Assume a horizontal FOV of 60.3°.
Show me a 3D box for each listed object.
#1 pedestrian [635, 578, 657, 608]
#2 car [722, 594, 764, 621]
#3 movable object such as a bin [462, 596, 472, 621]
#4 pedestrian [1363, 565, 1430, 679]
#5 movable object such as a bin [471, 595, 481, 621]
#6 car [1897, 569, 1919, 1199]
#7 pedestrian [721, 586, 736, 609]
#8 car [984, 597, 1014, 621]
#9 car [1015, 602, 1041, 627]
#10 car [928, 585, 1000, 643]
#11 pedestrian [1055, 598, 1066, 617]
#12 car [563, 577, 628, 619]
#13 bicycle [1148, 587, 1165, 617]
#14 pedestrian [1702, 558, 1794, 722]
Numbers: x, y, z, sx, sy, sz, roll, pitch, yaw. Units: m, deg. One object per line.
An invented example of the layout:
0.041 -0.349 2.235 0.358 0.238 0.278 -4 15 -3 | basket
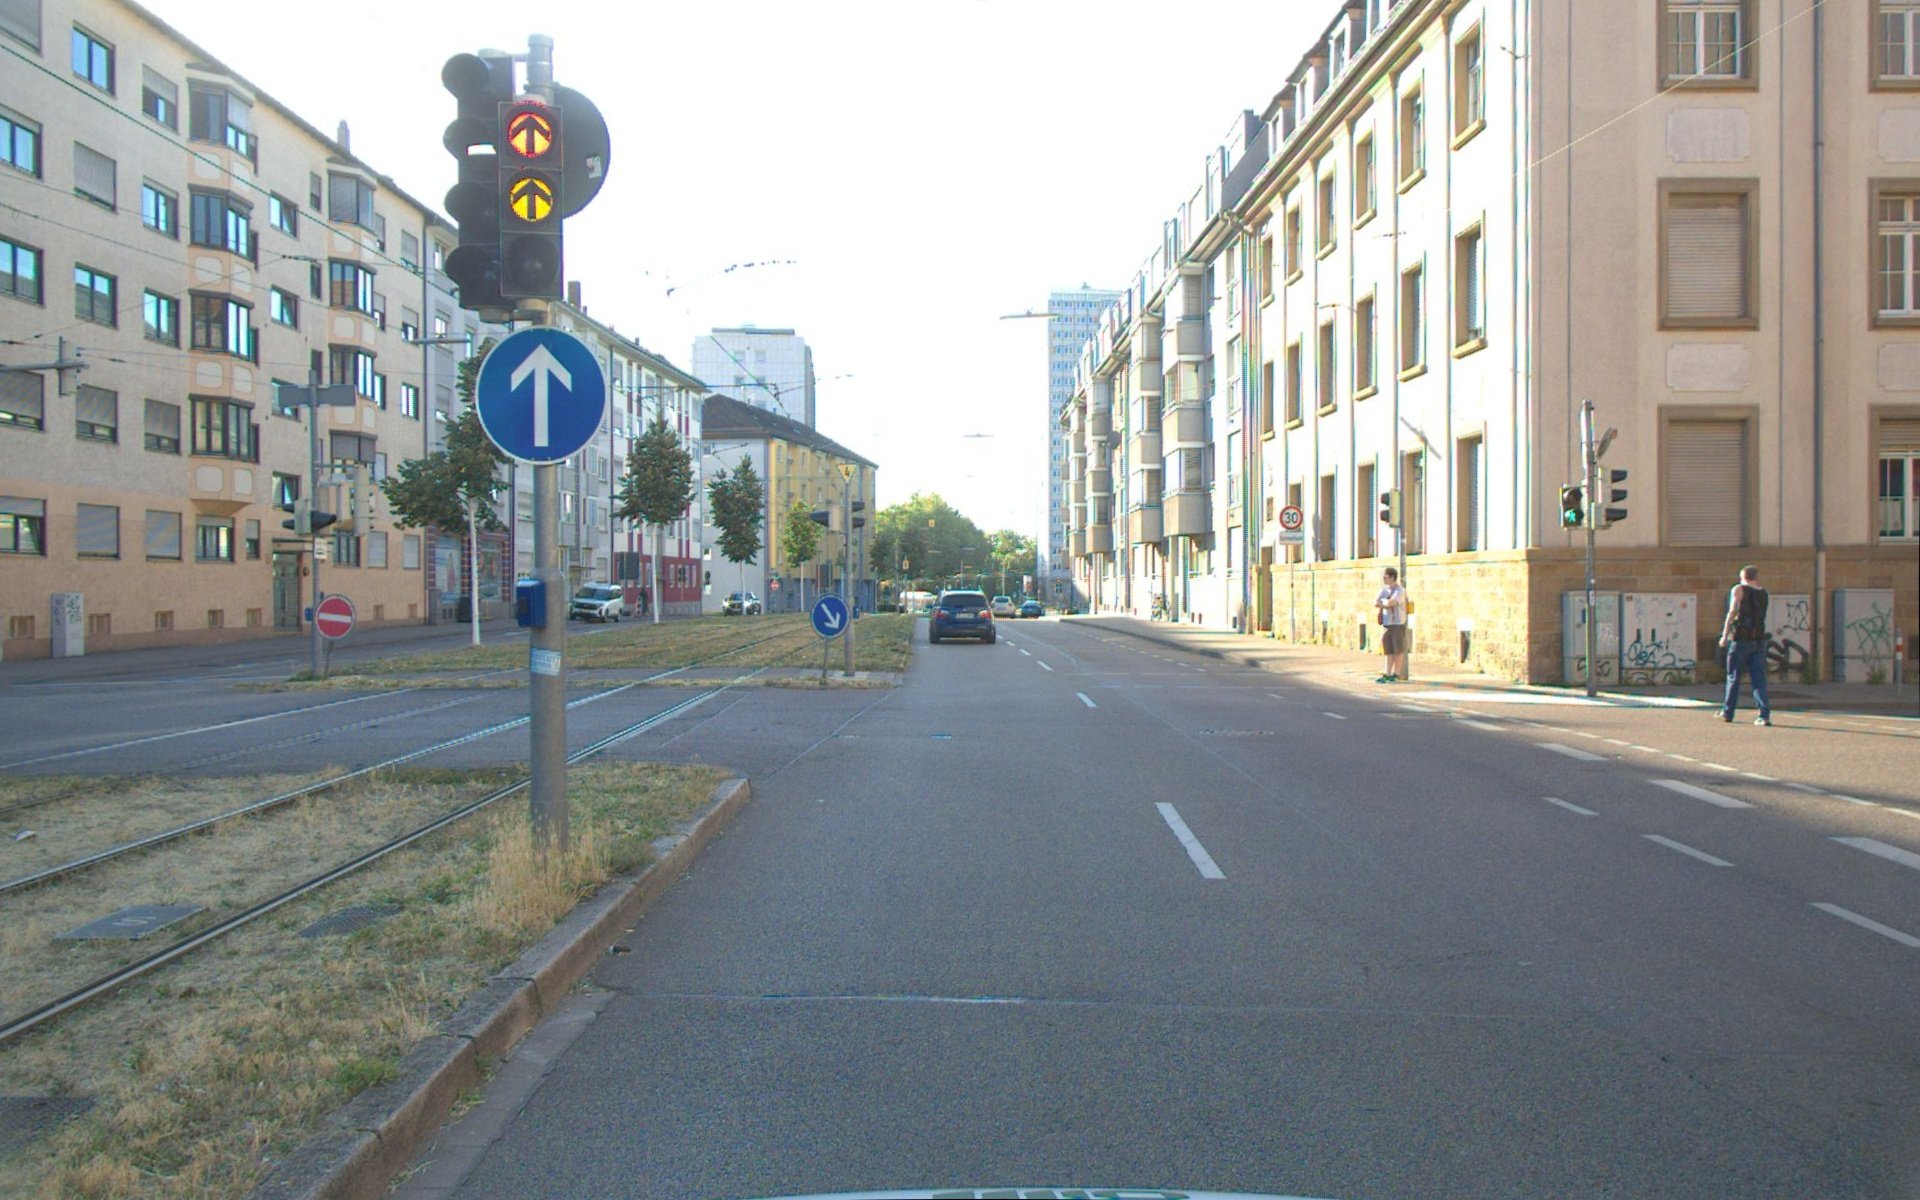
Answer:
-18.933 -0.430 99.677 1.246 1.791 1.271 1 0 -10 | pedestrian
-13.859 0.487 105.959 1.857 1.662 4.749 -1 0 3 | car
-20.213 0.349 67.817 0.292 1.054 0.441 1 -1 -1 | movable object such as a bin
6.989 0.350 26.508 0.818 1.793 0.824 1 -1 -1 | pedestrian
-20.029 0.342 68.417 0.292 1.054 0.441 1 -1 -2 | movable object such as a bin
2.866 0.743 1.440 1.663 1.580 4.225 0 0 -1 | car
-17.622 -0.167 125.870 0.942 1.723 1.011 1 0 4 | pedestrian
2.629 0.626 112.579 1.952 1.591 4.000 1 0 0 | car
5.804 1.244 141.438 1.953 2.049 3.999 -1 0 -1 | car
0.093 0.378 45.686 1.887 1.481 4.327 1 0 0 | car
6.903 0.519 113.792 0.677 1.256 0.736 1 0 -1 | pedestrian
-17.887 -0.099 81.327 1.952 1.958 4.543 1 0 3 | car
7.384 0.082 62.153 0.376 1.115 1.503 -1 0 -3 | bicycle
8.812 0.440 18.527 0.616 1.789 0.825 1 -1 -1 | pedestrian
